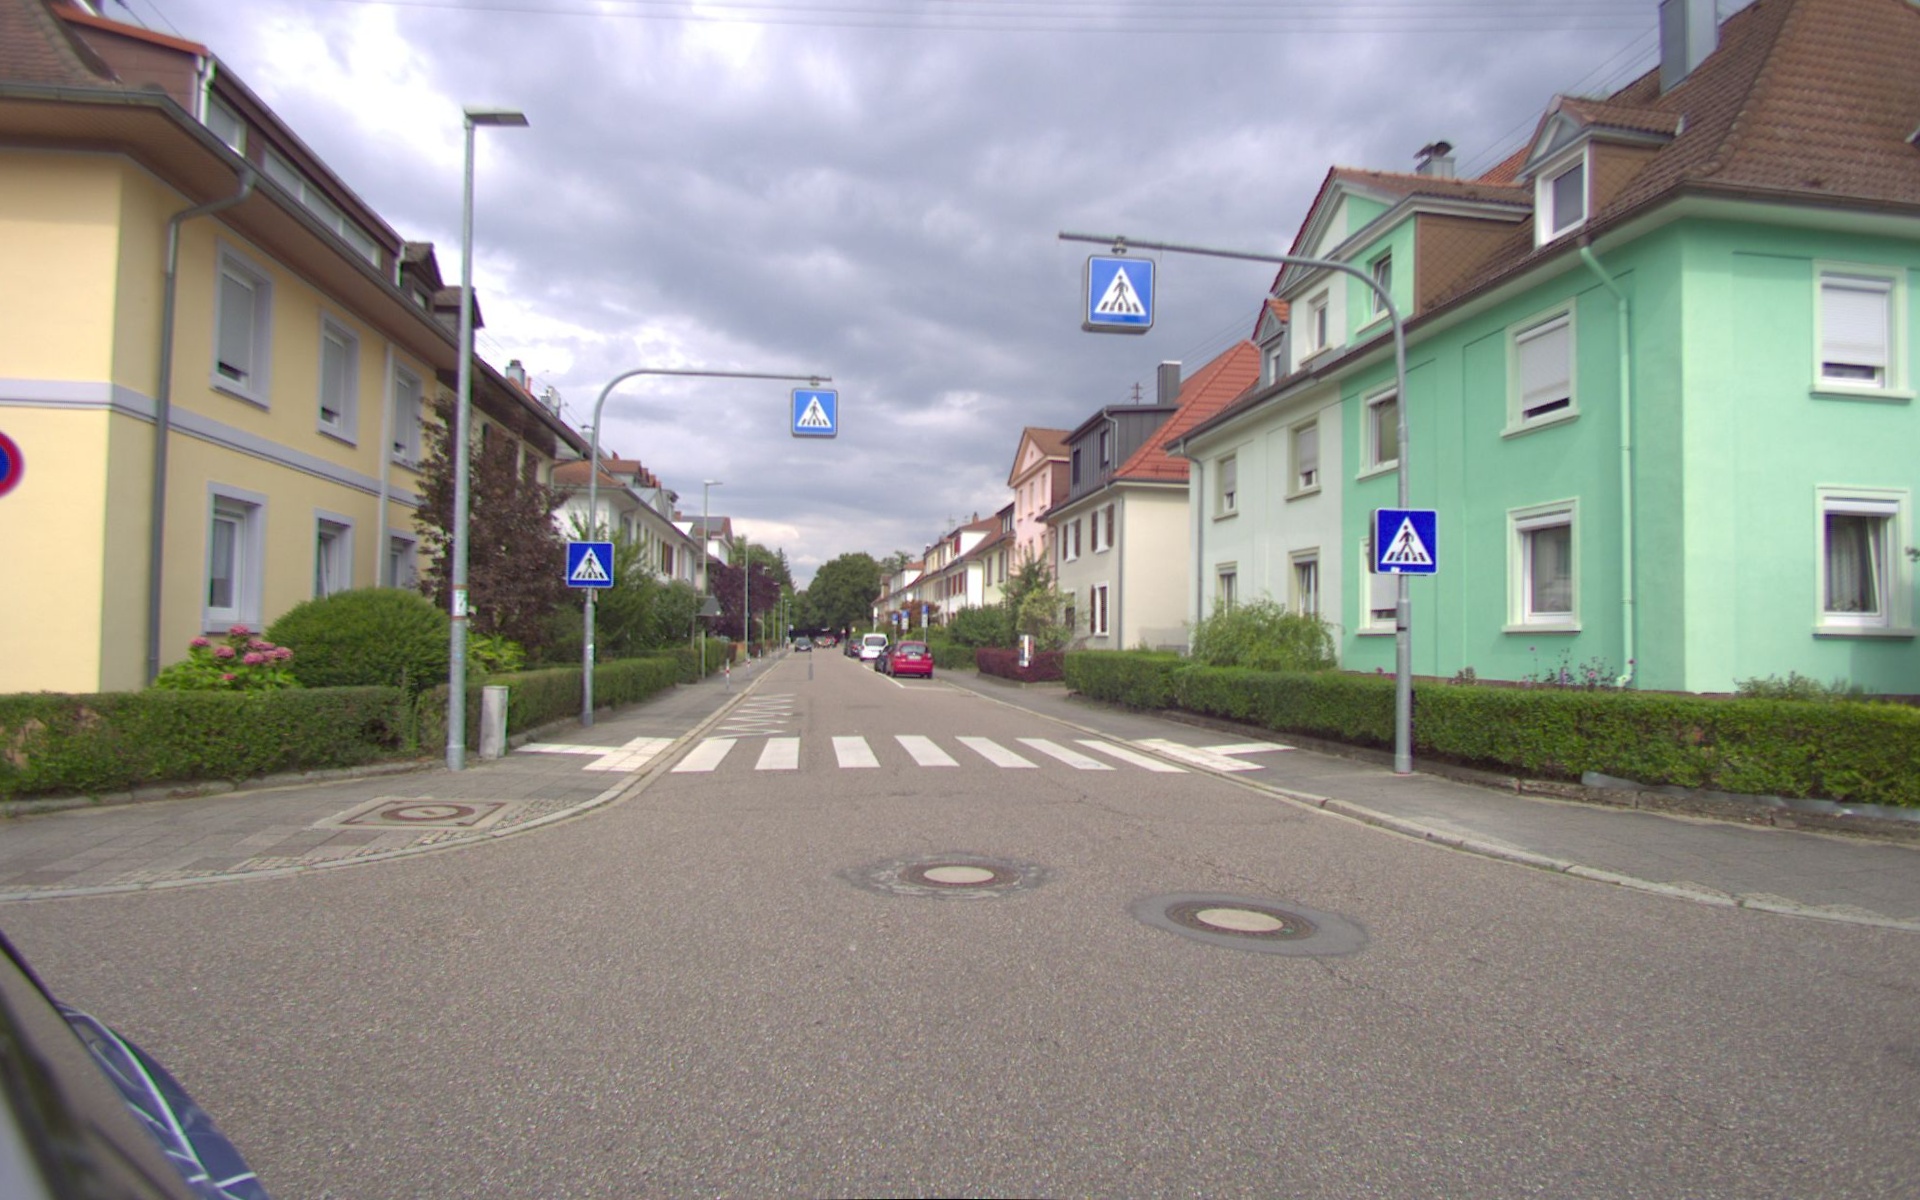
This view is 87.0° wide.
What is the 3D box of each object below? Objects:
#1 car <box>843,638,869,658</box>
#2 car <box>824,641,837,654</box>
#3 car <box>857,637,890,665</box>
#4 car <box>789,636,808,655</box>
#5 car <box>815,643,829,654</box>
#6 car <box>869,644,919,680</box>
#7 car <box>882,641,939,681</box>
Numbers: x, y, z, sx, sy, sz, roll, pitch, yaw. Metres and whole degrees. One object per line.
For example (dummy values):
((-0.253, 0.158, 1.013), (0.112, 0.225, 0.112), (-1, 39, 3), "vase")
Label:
((-8.825, 4.067, 85.740), (1.968, 1.586, 4.007), (1, -3, -8), "car")
((-21.423, 7.791, 167.088), (1.968, 2.029, 4.007), (2, -3, -8), "car")
((-6.039, 3.525, 70.258), (1.968, 1.918, 4.007), (1, -3, -8), "car")
((-17.379, 4.920, 109.035), (1.968, 2.029, 4.007), (1, -3, -8), "car")
((-20.404, 7.150, 149.758), (1.807, 1.497, 4.008), (3, -3, -9), "car")
((-3.132, 2.889, 47.449), (1.968, 1.586, 4.007), (1, -3, -8), "car")
((-2.126, 2.514, 42.313), (1.968, 1.586, 4.007), (1, -3, -8), "car")
